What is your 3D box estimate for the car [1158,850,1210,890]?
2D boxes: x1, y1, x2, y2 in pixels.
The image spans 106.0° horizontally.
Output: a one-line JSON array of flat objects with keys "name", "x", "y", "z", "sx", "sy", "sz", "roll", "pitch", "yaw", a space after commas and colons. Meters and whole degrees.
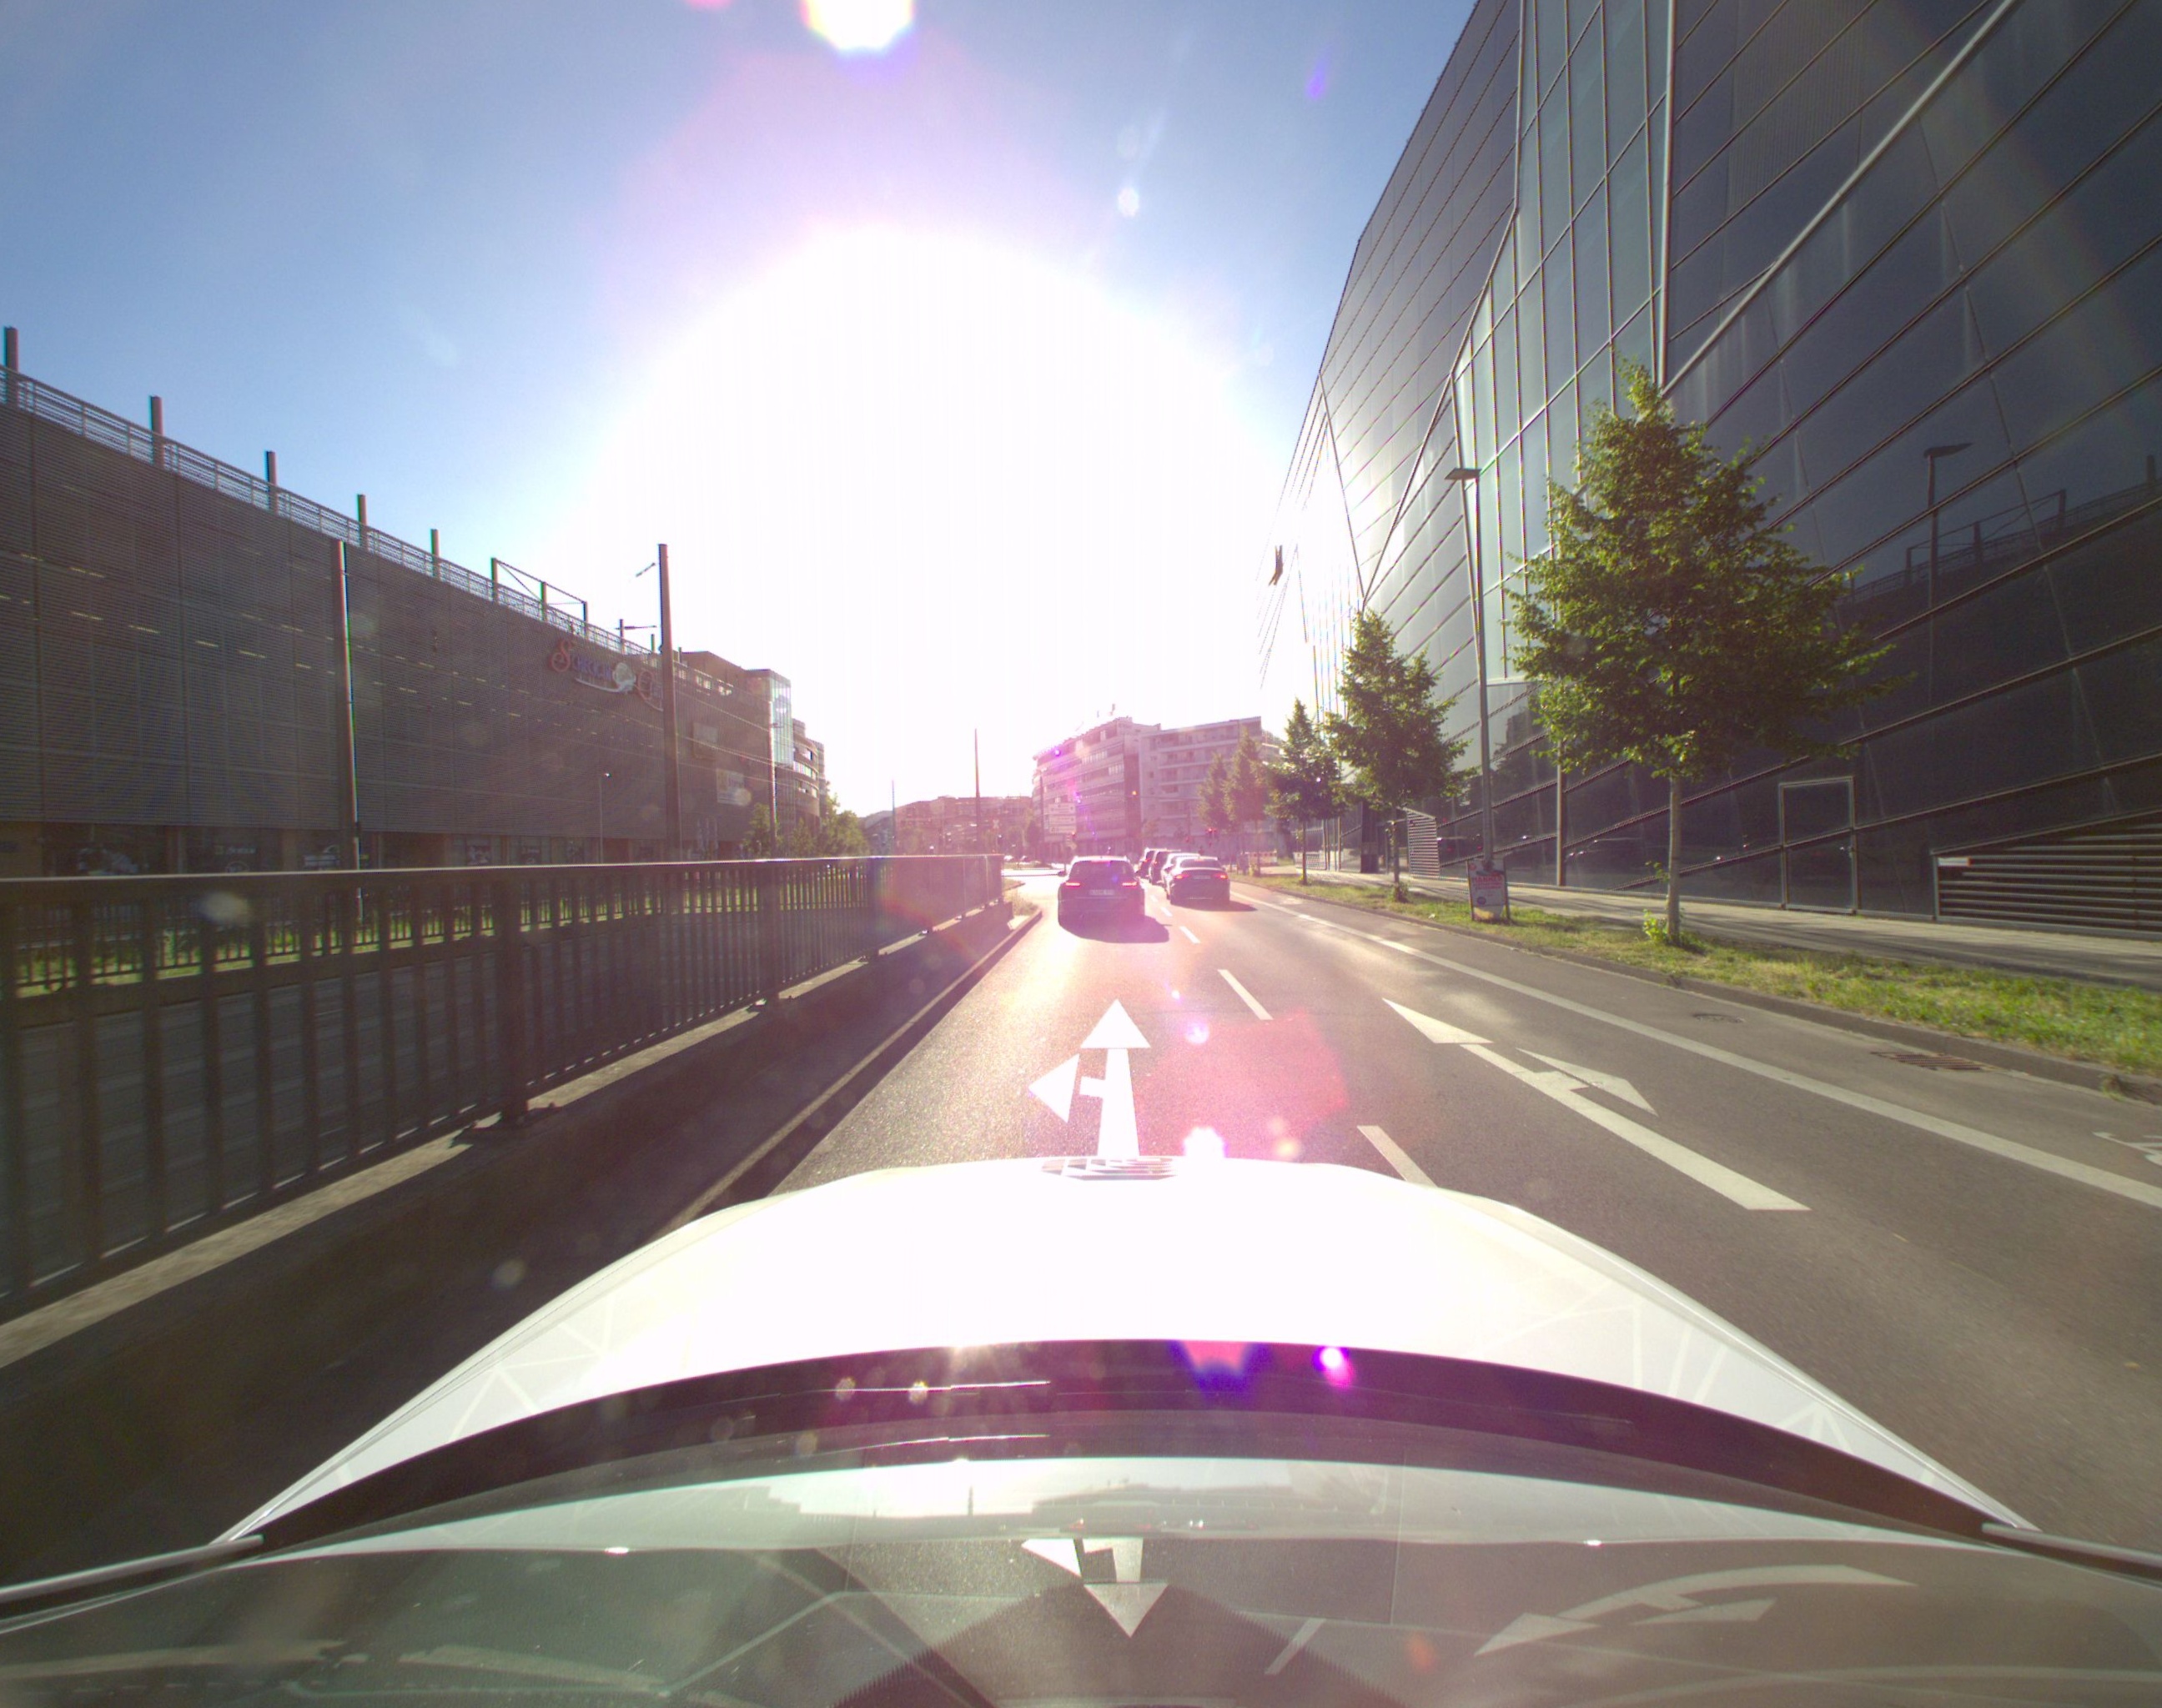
[{"name": "car", "x": 4.123, "y": 0.626, "z": 33.208, "sx": 1.738, "sy": 1.481, "sz": 4.632, "roll": -2, "pitch": 0, "yaw": 3}]

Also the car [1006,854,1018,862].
[{"name": "car", "x": -15.035, "y": 0.822, "z": 177.007, "sx": 1.995, "sy": 1.596, "sz": 3.983, "roll": -3, "pitch": -1, "yaw": -12}]

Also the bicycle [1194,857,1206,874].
[{"name": "bicycle", "x": 7.901, "y": 0.761, "z": 53.938, "sx": 0.651, "sy": 1.043, "sz": 1.932, "roll": -2, "pitch": 0, "yaw": 5}]

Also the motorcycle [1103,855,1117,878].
[{"name": "motorcycle", "x": 1.878, "y": 0.774, "z": 52.086, "sx": 0.859, "sy": 1.393, "sz": 1.894, "roll": -2, "pitch": 0, "yaw": 2}]

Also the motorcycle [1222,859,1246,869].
[{"name": "motorcycle", "x": 16.710, "y": 1.073, "z": 88.929, "sx": 2.446, "sy": 1.000, "sz": 1.171, "roll": -2, "pitch": 0, "yaw": -2}]

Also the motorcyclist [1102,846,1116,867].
[{"name": "motorcyclist", "x": 1.802, "y": 0.151, "z": 51.844, "sx": 0.859, "sy": 1.326, "sz": 0.681, "roll": -2, "pitch": -1, "yaw": 2}]

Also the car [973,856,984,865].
[{"name": "car", "x": -23.217, "y": 1.493, "z": 184.579, "sx": 1.998, "sy": 1.706, "sz": 3.978, "roll": -2, "pitch": -1, "yaw": -16}]

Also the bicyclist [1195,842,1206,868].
[{"name": "bicyclist", "x": 7.917, "y": 0.058, "z": 53.937, "sx": 0.651, "sy": 1.642, "sz": 0.973, "roll": -2, "pitch": 0, "yaw": 5}]

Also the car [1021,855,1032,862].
[{"name": "car", "x": -12.759, "y": 1.067, "z": 189.192, "sx": 1.995, "sy": 1.596, "sz": 3.983, "roll": -3, "pitch": -1, "yaw": -12}]

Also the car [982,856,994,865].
[{"name": "car", "x": -21.130, "y": 1.467, "z": 185.112, "sx": 1.998, "sy": 1.706, "sz": 3.978, "roll": -2, "pitch": -1, "yaw": -16}]

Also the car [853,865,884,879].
[{"name": "car", "x": -26.065, "y": 2.199, "z": 99.987, "sx": 1.981, "sy": 1.545, "sz": 4.543, "roll": -2, "pitch": 0, "yaw": 10}]

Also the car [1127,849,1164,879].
[{"name": "car", "x": 3.837, "y": 0.543, "z": 49.151, "sx": 1.995, "sy": 1.715, "sz": 4.374, "roll": 0, "pitch": 0, "yaw": 2}]

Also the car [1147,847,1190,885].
[{"name": "car", "x": 4.201, "y": 0.557, "z": 39.541, "sx": 1.739, "sy": 1.696, "sz": 4.263, "roll": -1, "pitch": 0, "yaw": 2}]

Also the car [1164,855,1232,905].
[{"name": "car", "x": 3.517, "y": 0.743, "z": 25.081, "sx": 1.738, "sy": 1.392, "sz": 4.269, "roll": -1, "pitch": 0, "yaw": 4}]

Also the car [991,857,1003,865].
[{"name": "car", "x": -18.510, "y": 1.513, "z": 179.235, "sx": 1.996, "sy": 1.596, "sz": 3.982, "roll": -3, "pitch": -1, "yaw": -13}]

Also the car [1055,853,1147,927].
[{"name": "car", "x": 0.472, "y": 0.725, "z": 18.340, "sx": 1.835, "sy": 1.454, "sz": 4.002, "roll": 0, "pitch": 0, "yaw": 2}]

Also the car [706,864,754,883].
[{"name": "car", "x": -29.249, "y": 1.603, "z": 68.081, "sx": 1.985, "sy": 1.500, "sz": 4.246, "roll": -2, "pitch": 0, "yaw": 3}]

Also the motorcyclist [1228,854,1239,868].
[{"name": "motorcyclist", "x": 16.651, "y": 0.725, "z": 88.929, "sx": 0.922, "sy": 1.481, "sz": 1.171, "roll": -2, "pitch": 0, "yaw": -2}]

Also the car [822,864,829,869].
[{"name": "car", "x": -76.488, "y": 3.750, "z": 243.904, "sx": 1.658, "sy": 1.588, "sz": 3.331, "roll": -2, "pitch": 0, "yaw": -25}]
